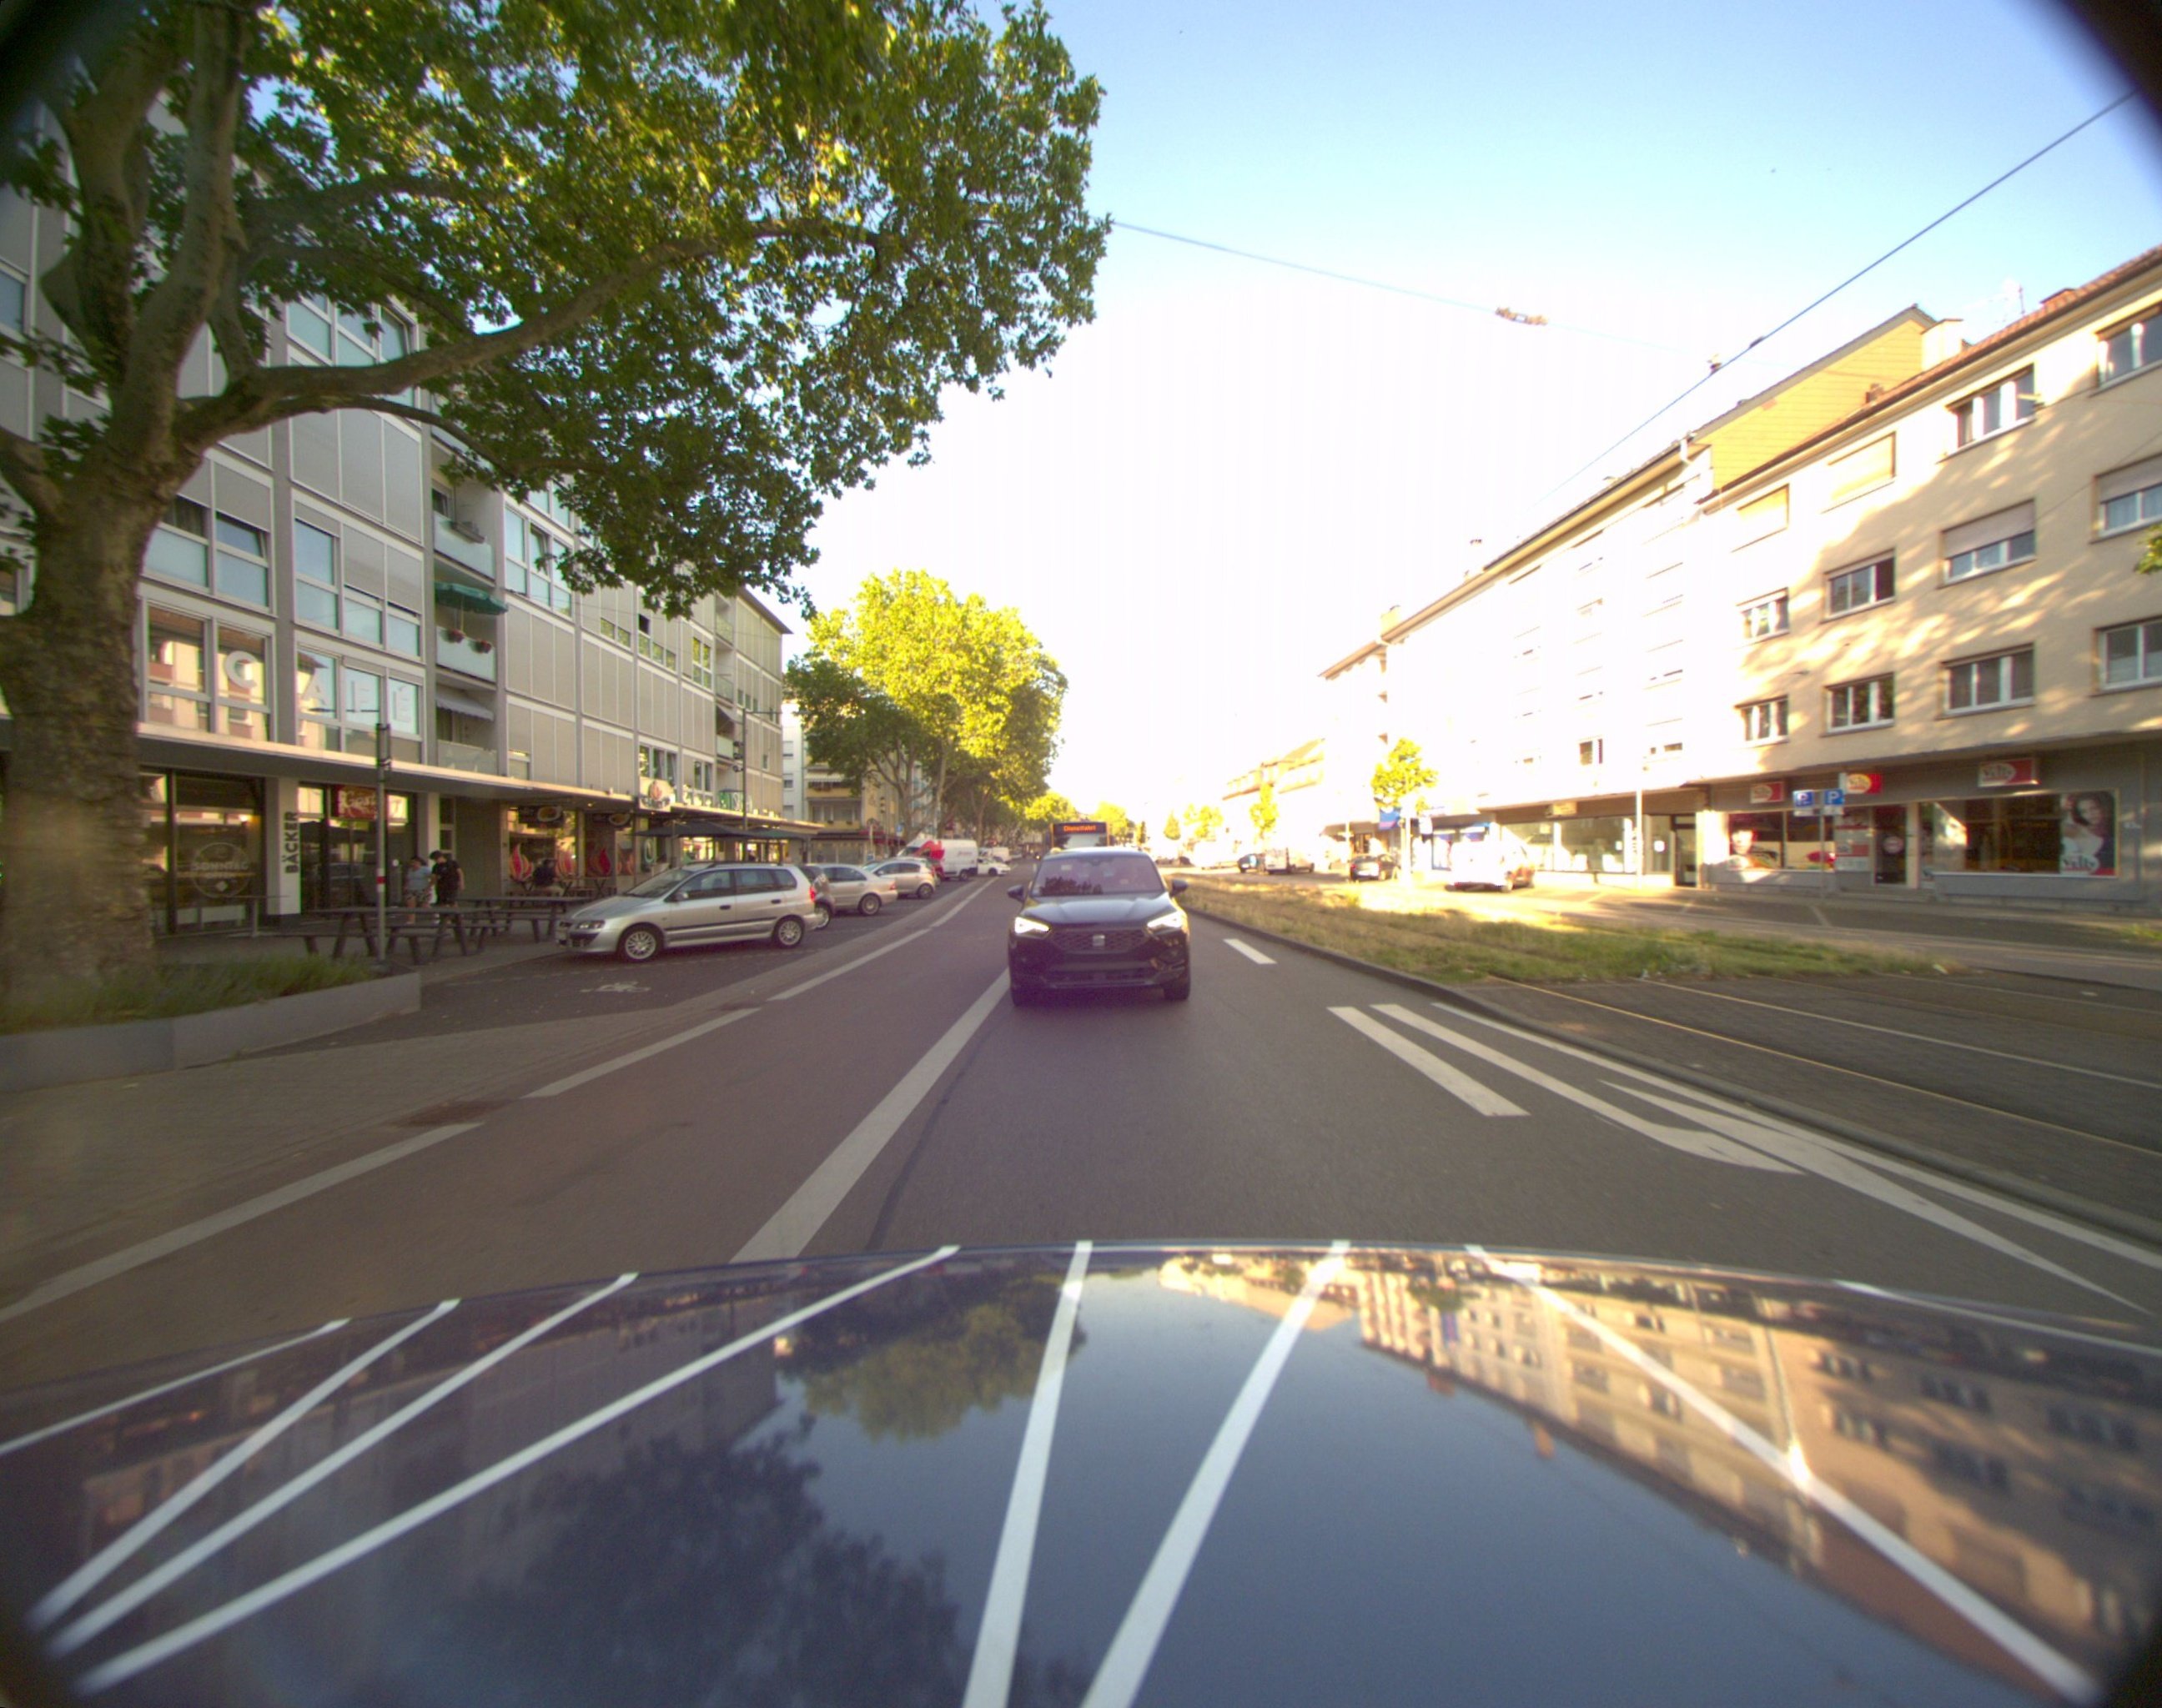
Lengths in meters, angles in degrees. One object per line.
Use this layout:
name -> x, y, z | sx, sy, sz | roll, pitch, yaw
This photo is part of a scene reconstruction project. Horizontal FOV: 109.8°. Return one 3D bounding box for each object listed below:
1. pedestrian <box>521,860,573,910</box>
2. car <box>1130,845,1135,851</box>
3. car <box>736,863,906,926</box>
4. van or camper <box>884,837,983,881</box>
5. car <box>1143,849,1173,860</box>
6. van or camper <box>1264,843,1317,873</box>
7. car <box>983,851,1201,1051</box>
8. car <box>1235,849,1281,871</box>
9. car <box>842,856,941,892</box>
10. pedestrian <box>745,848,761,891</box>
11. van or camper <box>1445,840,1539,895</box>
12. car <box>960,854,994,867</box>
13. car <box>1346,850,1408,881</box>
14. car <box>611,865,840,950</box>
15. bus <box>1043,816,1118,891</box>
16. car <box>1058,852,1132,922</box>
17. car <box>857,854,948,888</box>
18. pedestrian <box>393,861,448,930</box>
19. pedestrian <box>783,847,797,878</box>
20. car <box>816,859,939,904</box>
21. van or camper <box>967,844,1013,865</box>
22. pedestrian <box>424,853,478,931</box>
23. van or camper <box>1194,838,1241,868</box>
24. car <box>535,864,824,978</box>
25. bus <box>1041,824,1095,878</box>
pedestrian -> -14.917, 0.854, 21.262 | 0.750, 1.354, 0.962 | 0, 1, 1
car -> 17.235, -1.920, 254.604 | 1.869, 1.832, 3.826 | -1, 0, 3
car -> -6.891, 1.009, 20.395 | 1.655, 1.428, 4.009 | 2, 2, 43
van or camper -> -8.605, 0.260, 44.733 | 5.474, 2.455, 1.994 | -1, 1, -44
car -> 11.207, 0.108, 110.072 | 3.921, 1.482, 1.766 | -3, 1, -26
van or camper -> 15.129, 0.271, 54.629 | 1.795, 1.978, 4.460 | -2, 1, 42
car -> 0.139, 0.829, 8.532 | 1.808, 1.638, 4.000 | -2, 0, 1
car -> 14.357, 0.485, 61.497 | 1.874, 1.577, 4.008 | -2, 1, 43
car -> -8.434, 0.849, 34.064 | 4.008, 1.514, 1.655 | 0, 2, -44
pedestrian -> -15.241, 0.717, 35.321 | 0.552, 2.002, 0.577 | -3, 1, -18
van or camper -> 16.147, 0.466, 29.718 | 1.946, 1.887, 4.824 | -2, 1, 44
car -> -11.089, 0.648, 80.960 | 3.337, 1.339, 1.526 | 0, 2, -44
car -> 16.046, 0.600, 41.052 | 1.765, 1.482, 4.460 | -2, 1, 40
car -> -7.378, 1.017, 16.110 | 1.804, 1.498, 4.009 | 0, 0, 39
bus -> -0.306, -0.147, 37.558 | 2.873, 2.962, 12.233 | -3, 1, -3
car -> 0.327, 0.736, 19.310 | 1.658, 1.571, 4.000 | -1, 0, 0
car -> -8.710, 0.782, 37.262 | 4.008, 1.555, 1.655 | 0, 2, -44
pedestrian -> -13.831, 0.862, 15.920 | 0.538, 1.392, 0.687 | 2, 1, -4
pedestrian -> -15.322, 0.437, 40.013 | 0.539, 1.582, 0.685 | 1, 1, -30
car -> -7.313, 0.942, 27.544 | 4.008, 1.428, 1.655 | 0, 2, -44
van or camper -> -10.947, 0.084, 91.849 | 1.994, 2.455, 5.474 | 0, 1, 44
pedestrian -> -13.222, 0.781, 15.960 | 0.538, 1.582, 0.687 | 2, 1, -4
van or camper -> 13.639, -0.135, 75.415 | 1.995, 2.652, 6.410 | -2, 1, 34
car -> -6.743, 0.998, 13.121 | 1.804, 1.597, 4.009 | 0, 0, 39
bus -> -1.059, -0.317, 49.699 | 2.873, 2.962, 12.233 | -3, 1, -3
